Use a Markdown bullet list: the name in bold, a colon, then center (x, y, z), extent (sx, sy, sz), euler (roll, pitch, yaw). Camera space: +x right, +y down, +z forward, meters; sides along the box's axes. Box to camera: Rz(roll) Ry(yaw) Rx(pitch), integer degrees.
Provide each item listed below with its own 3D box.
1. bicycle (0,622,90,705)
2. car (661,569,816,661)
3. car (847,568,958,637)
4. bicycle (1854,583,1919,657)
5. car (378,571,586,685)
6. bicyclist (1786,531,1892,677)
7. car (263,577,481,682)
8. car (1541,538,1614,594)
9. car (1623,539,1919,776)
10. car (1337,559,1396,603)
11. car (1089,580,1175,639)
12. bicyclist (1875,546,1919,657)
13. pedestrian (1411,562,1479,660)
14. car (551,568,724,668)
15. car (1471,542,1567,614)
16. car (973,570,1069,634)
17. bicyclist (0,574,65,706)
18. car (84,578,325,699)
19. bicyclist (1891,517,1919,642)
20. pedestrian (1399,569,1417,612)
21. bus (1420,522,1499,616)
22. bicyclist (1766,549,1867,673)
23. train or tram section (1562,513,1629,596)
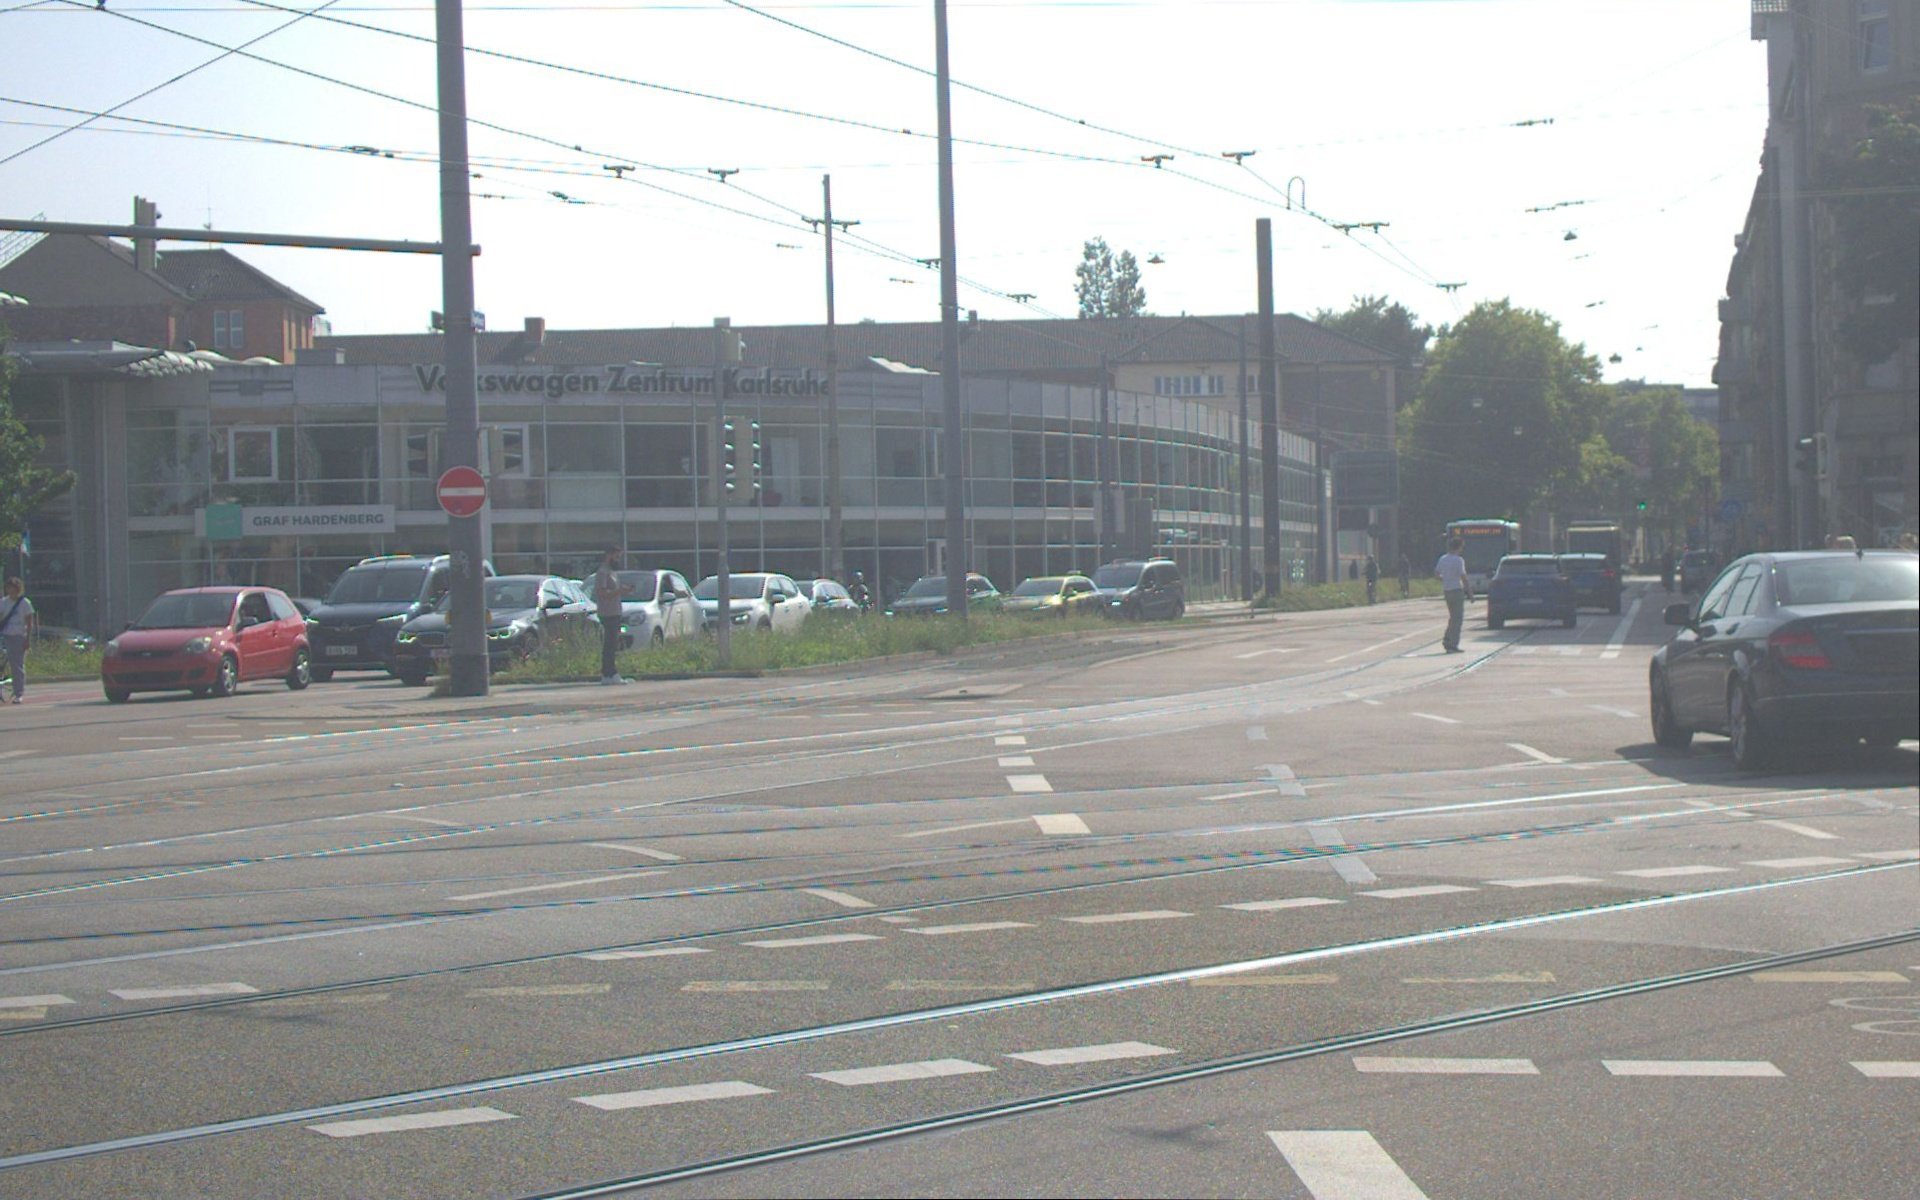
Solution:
- **bicycle**: center (-12.755, 0.843, 46.260), extent (0.958, 1.053, 2.607), euler (-1, 0, 12)
- **car**: center (-3.841, 0.241, 60.249), extent (1.615, 1.470, 3.998), euler (-3, 0, 12)
- **car**: center (-1.299, 0.045, 79.097), extent (1.615, 1.470, 3.998), euler (-3, 0, 12)
- **bicycle**: center (13.396, 0.252, 46.755), extent (2.619, 0.961, 1.093), euler (-1, 1, -41)
- **car**: center (-6.674, 0.363, 48.420), extent (1.615, 1.470, 3.998), euler (-3, 0, 11)
- **bicyclist**: center (12.373, 0.052, 48.401), extent (0.934, 2.017, 1.092), euler (-1, 1, -41)
- **car**: center (-9.040, 0.427, 53.203), extent (1.961, 1.470, 3.998), euler (-3, 0, 11)
- **car**: center (16.426, -0.923, 91.412), extent (1.826, 1.423, 4.410), euler (-1, 1, 11)
- **car**: center (5.793, 0.326, 23.332), extent (1.682, 1.437, 4.372), euler (-1, 0, 0)
- **car**: center (14.380, -0.676, 121.449), extent (1.615, 1.470, 3.998), euler (-3, 0, 12)
- **car**: center (4.664, 0.244, 92.635), extent (1.615, 1.470, 3.998), euler (-3, 0, 12)
- **bicyclist**: center (14.677, 0.007, 52.332), extent (0.934, 1.674, 1.093), euler (-1, 1, -27)
- **pedestrian**: center (7.535, 0.170, 53.428), extent (0.777, 1.498, 0.710), euler (-1, 1, -24)
- **car**: center (-5.109, 0.261, 54.986), extent (1.615, 1.470, 3.998), euler (-3, 0, 11)
- **car**: center (11.830, -0.485, 72.600), extent (1.826, 1.423, 4.410), euler (-1, 1, 11)
- **car**: center (1.565, 0.033, 86.486), extent (1.615, 1.470, 3.998), euler (-3, 0, 12)
- **bicyclist**: center (-12.760, 0.530, 46.243), extent (0.958, 1.742, 1.166), euler (-1, 0, 12)
- **car**: center (-10.048, 0.487, 46.007), extent (1.615, 1.470, 3.998), euler (-3, 0, 11)
- **bicyclist**: center (13.417, -0.286, 46.773), extent (0.934, 1.702, 1.092), euler (-1, 1, -41)
- **pedestrian**: center (17.120, -0.375, 131.387), extent (0.595, 1.625, 0.637), euler (-1, 0, 13)
- **bus**: center (20.646, -1.268, 141.389), extent (2.921, 3.606, 16.740), euler (-1, 0, 9)
- **bicyclist**: center (12.634, 0.150, 50.712), extent (0.934, 1.793, 1.093), euler (-1, 1, -27)
- **train or tram section**: center (29.819, -2.152, 161.672), extent (2.655, 3.686, 10.586), euler (-1, 1, 8)
